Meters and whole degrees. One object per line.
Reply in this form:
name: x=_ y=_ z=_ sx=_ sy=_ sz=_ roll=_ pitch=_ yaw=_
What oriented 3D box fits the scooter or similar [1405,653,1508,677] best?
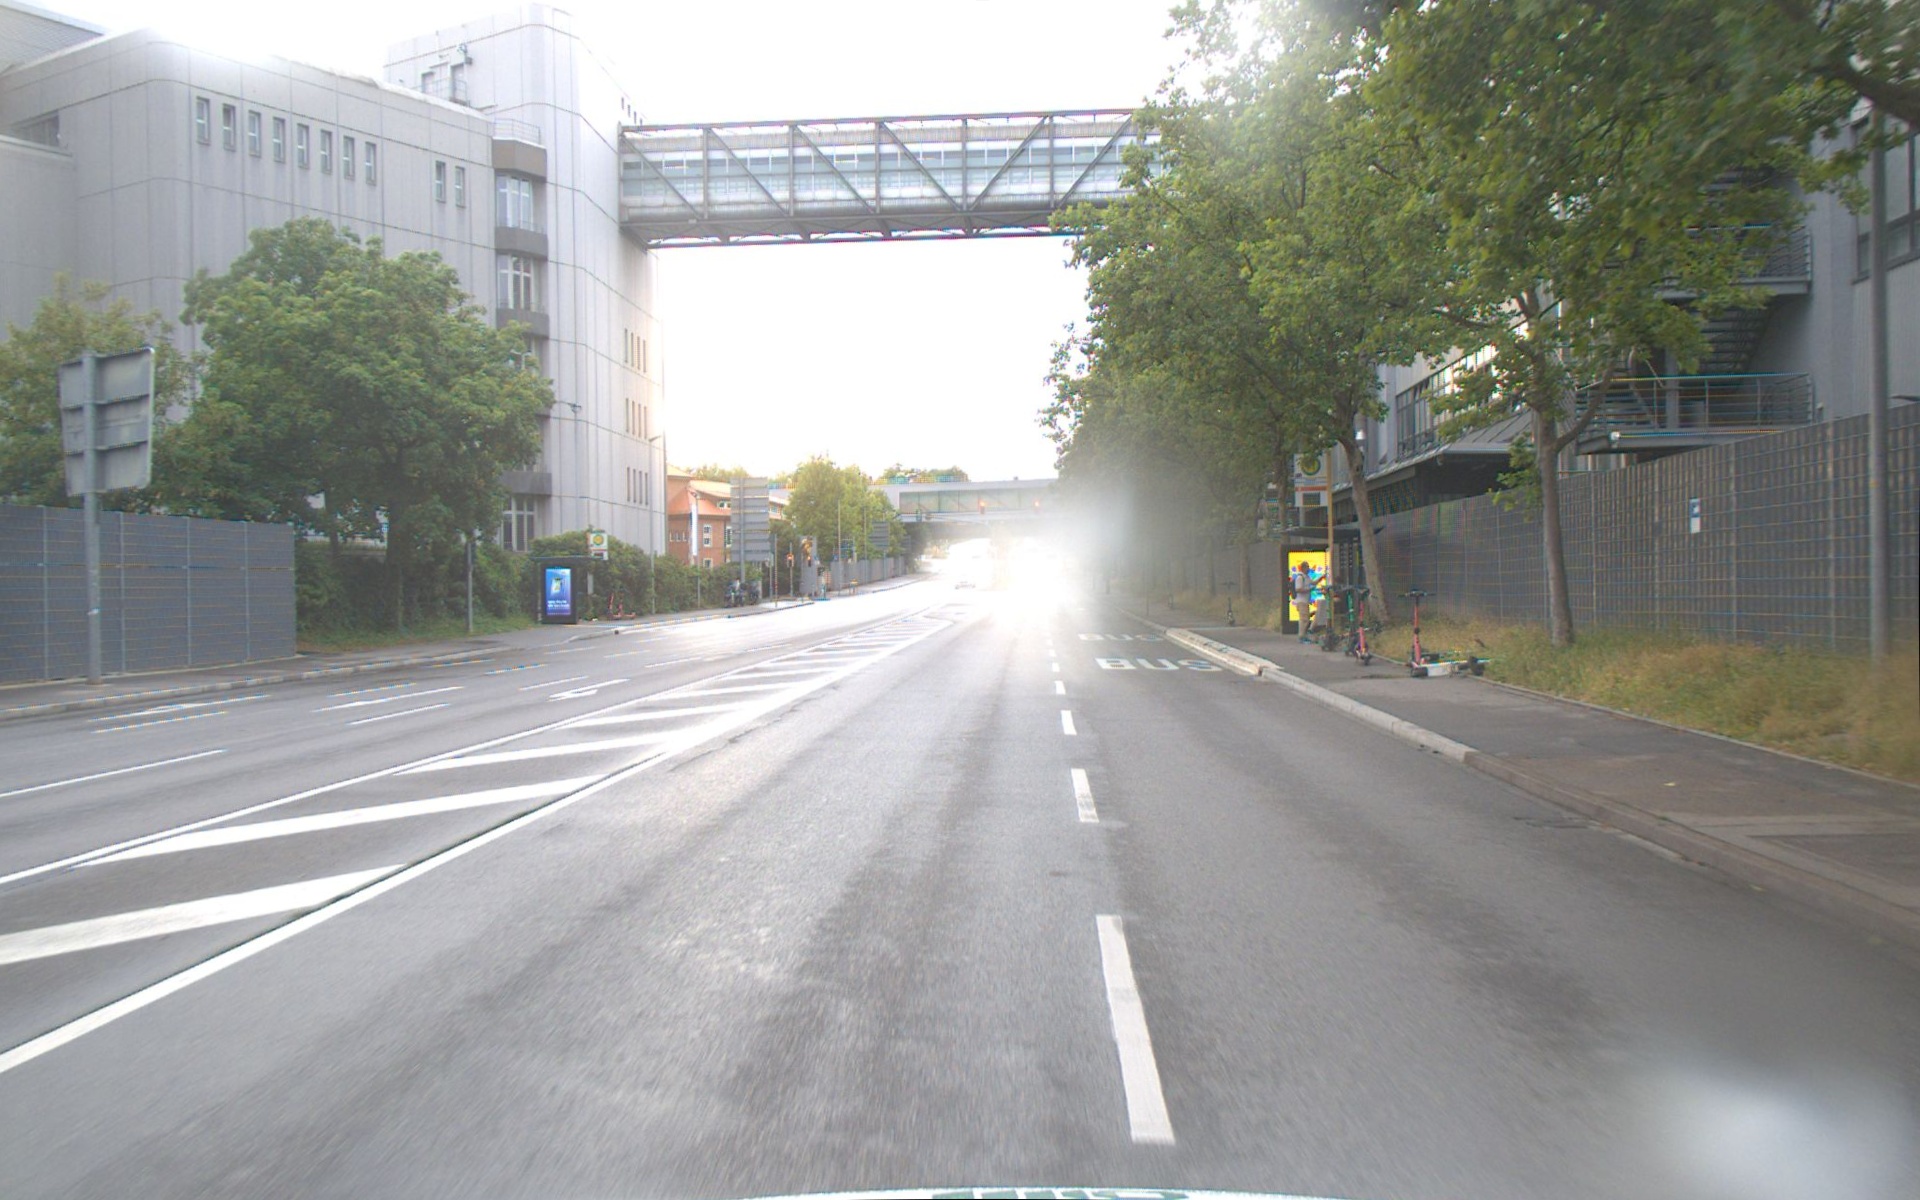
scooter or similar: x=7.070 y=0.924 z=23.612 sx=0.643 sy=0.251 sz=1.516 roll=-2 pitch=1 yaw=-19

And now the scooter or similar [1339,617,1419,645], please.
scooter or similar: x=8.580 y=0.633 z=33.867 sx=1.528 sy=0.528 sz=0.643 roll=-1 pitch=1 yaw=19

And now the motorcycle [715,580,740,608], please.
motorcycle: x=-13.095 y=-0.363 z=93.166 sx=0.895 sy=1.559 sz=3.300 roll=-1 pitch=1 yaw=1

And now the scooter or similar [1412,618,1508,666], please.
scooter or similar: x=8.270 y=0.684 z=27.425 sx=0.645 sy=0.726 sz=1.510 roll=-2 pitch=1 yaw=-28

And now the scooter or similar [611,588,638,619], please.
scooter or similar: x=-14.021 y=0.140 z=69.172 sx=0.487 sy=1.274 sz=1.923 roll=-1 pitch=0 yaw=8

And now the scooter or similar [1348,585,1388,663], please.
scooter or similar: x=6.972 y=0.399 z=28.312 sx=0.424 sy=1.292 sz=1.194 roll=-1 pitch=1 yaw=3

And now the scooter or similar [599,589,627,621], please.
scooter or similar: x=-14.046 y=0.183 z=67.030 sx=0.513 sy=1.274 sz=1.801 roll=-1 pitch=0 yaw=8

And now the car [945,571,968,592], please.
car: x=-0.340 y=-1.689 z=147.894 sx=1.953 sy=1.803 sz=4.000 roll=-1 pitch=1 yaw=-1

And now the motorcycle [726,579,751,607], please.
motorcycle: x=-12.951 y=-0.432 z=96.848 sx=0.939 sy=1.583 sz=3.300 roll=-1 pitch=1 yaw=1

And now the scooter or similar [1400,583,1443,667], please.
scooter or similar: x=7.003 y=0.366 z=25.117 sx=0.380 sy=1.248 sz=1.074 roll=-1 pitch=1 yaw=3

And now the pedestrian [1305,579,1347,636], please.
pedestrian: x=8.910 y=0.179 z=40.294 sx=0.930 sy=1.339 sz=0.686 roll=-1 pitch=0 yaw=9

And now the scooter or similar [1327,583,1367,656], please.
scooter or similar: x=7.157 y=0.348 z=30.630 sx=0.465 sy=1.315 sz=1.434 roll=-1 pitch=1 yaw=3

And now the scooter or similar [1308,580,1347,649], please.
scooter or similar: x=7.270 y=0.280 z=32.752 sx=0.492 sy=1.315 sz=1.434 roll=-1 pitch=1 yaw=3

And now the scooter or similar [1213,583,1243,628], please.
scooter or similar: x=7.859 y=0.141 z=48.505 sx=0.684 sy=1.266 sz=1.923 roll=-1 pitch=1 yaw=14

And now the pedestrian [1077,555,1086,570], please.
pedestrian: x=17.080 y=-5.218 z=232.084 sx=1.034 sy=2.049 sz=1.152 roll=-1 pitch=0 yaw=14

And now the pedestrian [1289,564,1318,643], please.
pedestrian: x=7.515 y=0.067 z=36.210 sx=0.471 sy=1.696 sz=0.662 roll=-1 pitch=0 yaw=1

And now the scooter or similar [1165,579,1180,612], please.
scooter or similar: x=9.075 y=-0.200 z=70.720 sx=0.596 sy=1.390 sz=1.923 roll=-1 pitch=0 yaw=8
